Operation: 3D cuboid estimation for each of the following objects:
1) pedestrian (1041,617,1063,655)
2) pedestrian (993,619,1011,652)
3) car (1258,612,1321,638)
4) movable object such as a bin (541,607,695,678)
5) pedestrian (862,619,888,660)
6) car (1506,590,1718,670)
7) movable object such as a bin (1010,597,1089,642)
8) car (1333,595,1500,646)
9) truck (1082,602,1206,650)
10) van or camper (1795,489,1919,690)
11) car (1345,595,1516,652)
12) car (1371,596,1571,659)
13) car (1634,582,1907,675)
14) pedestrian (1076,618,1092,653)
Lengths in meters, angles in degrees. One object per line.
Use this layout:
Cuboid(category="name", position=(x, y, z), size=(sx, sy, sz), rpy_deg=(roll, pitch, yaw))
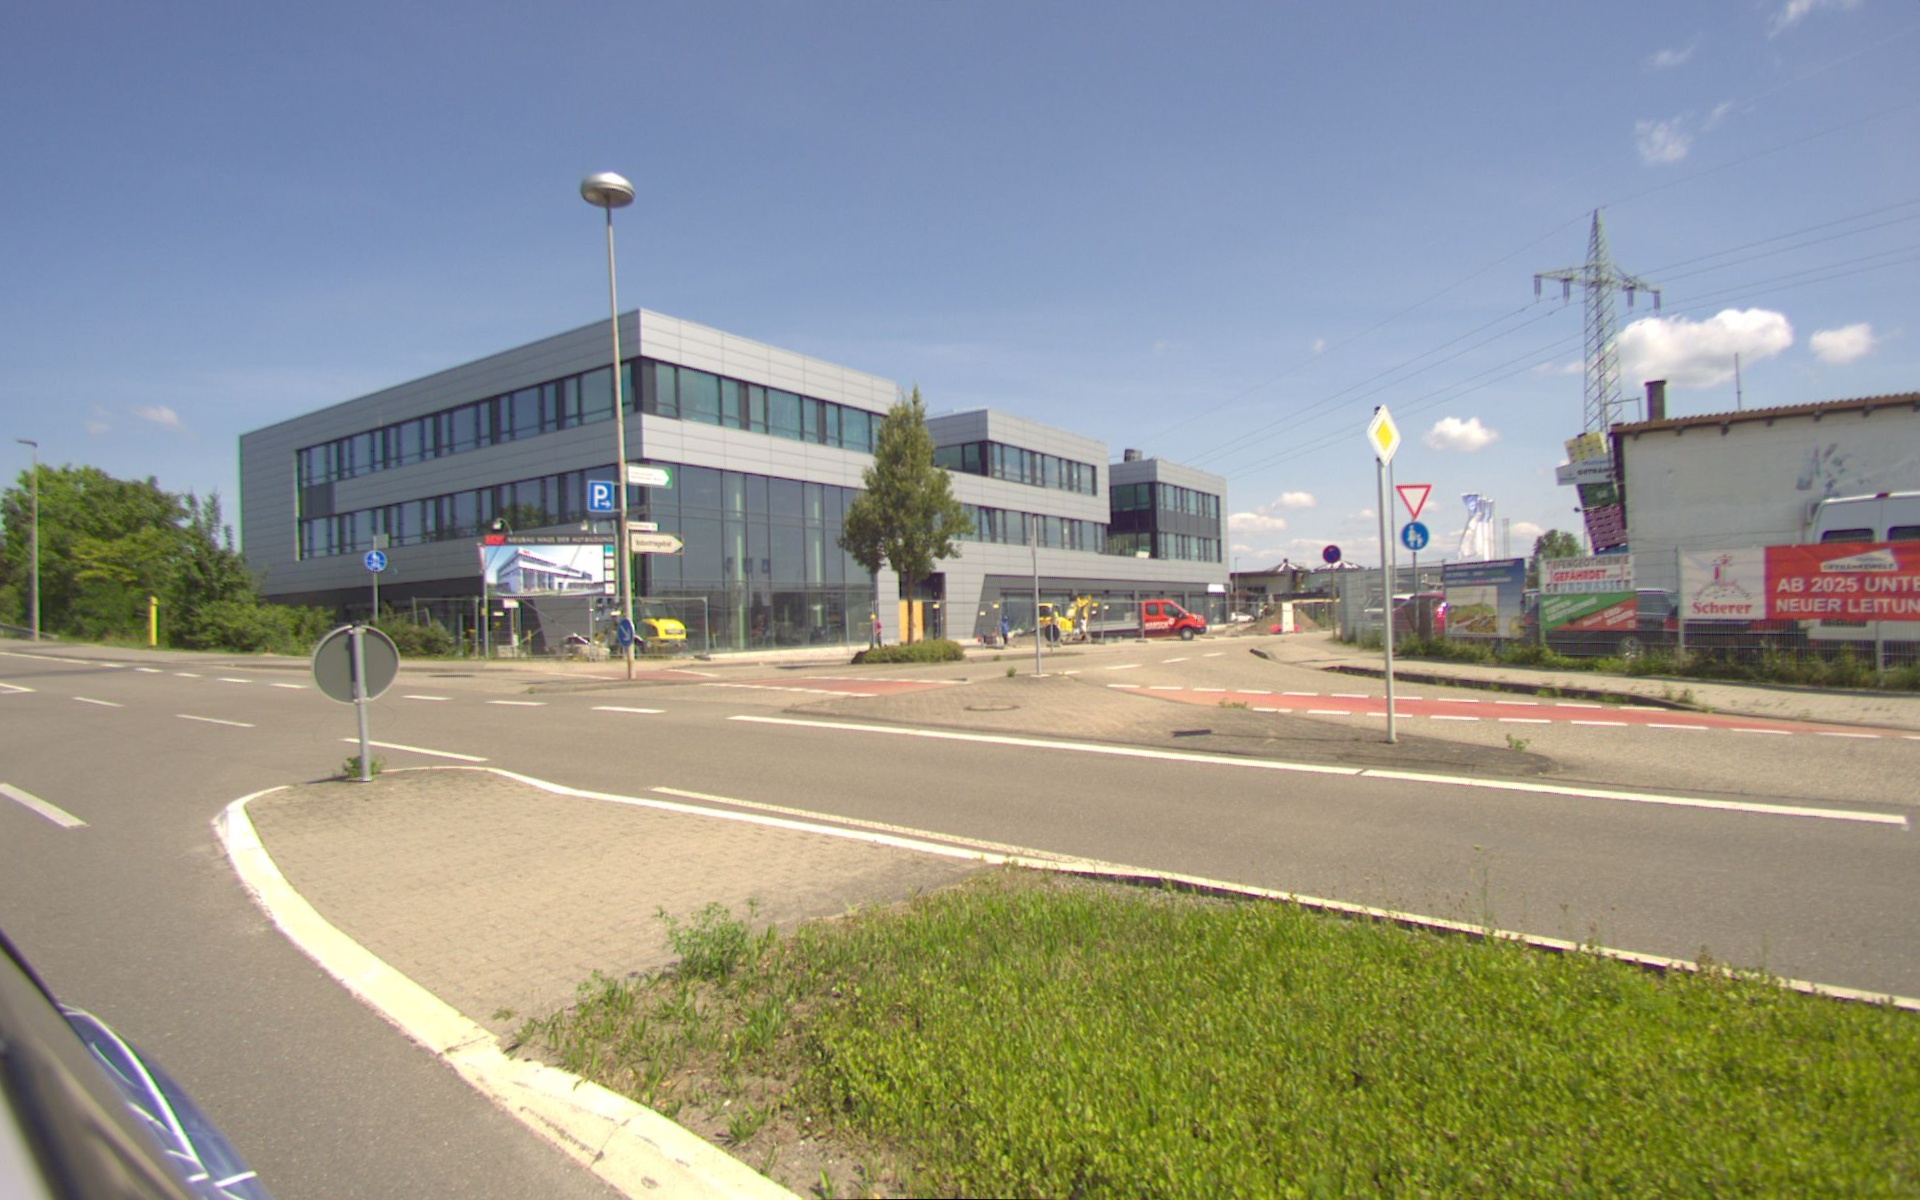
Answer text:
Cuboid(category="pedestrian", position=(4.674, 1.833, 51.491), size=(0.896, 1.893, 0.702), rpy_deg=(-2, -1, 24))
Cuboid(category="pedestrian", position=(2.202, 1.862, 53.075), size=(0.532, 1.741, 0.765), rpy_deg=(-2, -1, 36))
Cuboid(category="car", position=(23.633, 1.778, 72.582), size=(3.982, 1.741, 1.981), rpy_deg=(-2, -1, 29))
Cuboid(category="movable object such as a bin", position=(-12.478, 1.534, 36.845), size=(5.433, 2.428, 2.152), rpy_deg=(-2, -1, 27))
Cuboid(category="pedestrian", position=(-3.678, 1.702, 43.663), size=(0.772, 1.741, 0.773), rpy_deg=(-2, -1, 33))
Cuboid(category="car", position=(12.100, 0.510, 18.741), size=(3.931, 1.331, 1.564), rpy_deg=(-1, -1, -28))
Cuboid(category="movable object such as a bin", position=(5.398, 1.149, 59.837), size=(3.357, 2.471, 6.339), rpy_deg=(-2, -1, 17))
Cuboid(category="car", position=(13.222, 0.598, 29.413), size=(3.933, 1.331, 2.005), rpy_deg=(-1, -1, -13))
Cuboid(category="truck", position=(9.488, 1.350, 52.418), size=(6.088, 2.251, 2.363), rpy_deg=(-2, -1, 11))
Cuboid(category="van or camper", position=(14.390, -0.164, 14.127), size=(5.492, 2.516, 2.085), rpy_deg=(-1, -1, -26))
Cuboid(category="car", position=(12.108, 0.591, 26.105), size=(3.678, 1.331, 1.907), rpy_deg=(-1, -1, -20))
Cuboid(category="car", position=(11.962, 0.623, 23.753), size=(3.931, 1.331, 2.006), rpy_deg=(-1, -1, -20))
Cuboid(category="car", position=(13.135, 0.420, 16.399), size=(3.931, 1.331, 2.006), rpy_deg=(-1, -1, -27))
Cuboid(category="pedestrian", position=(6.260, 1.789, 51.027), size=(0.712, 1.741, 0.772), rpy_deg=(-2, -1, 11))
